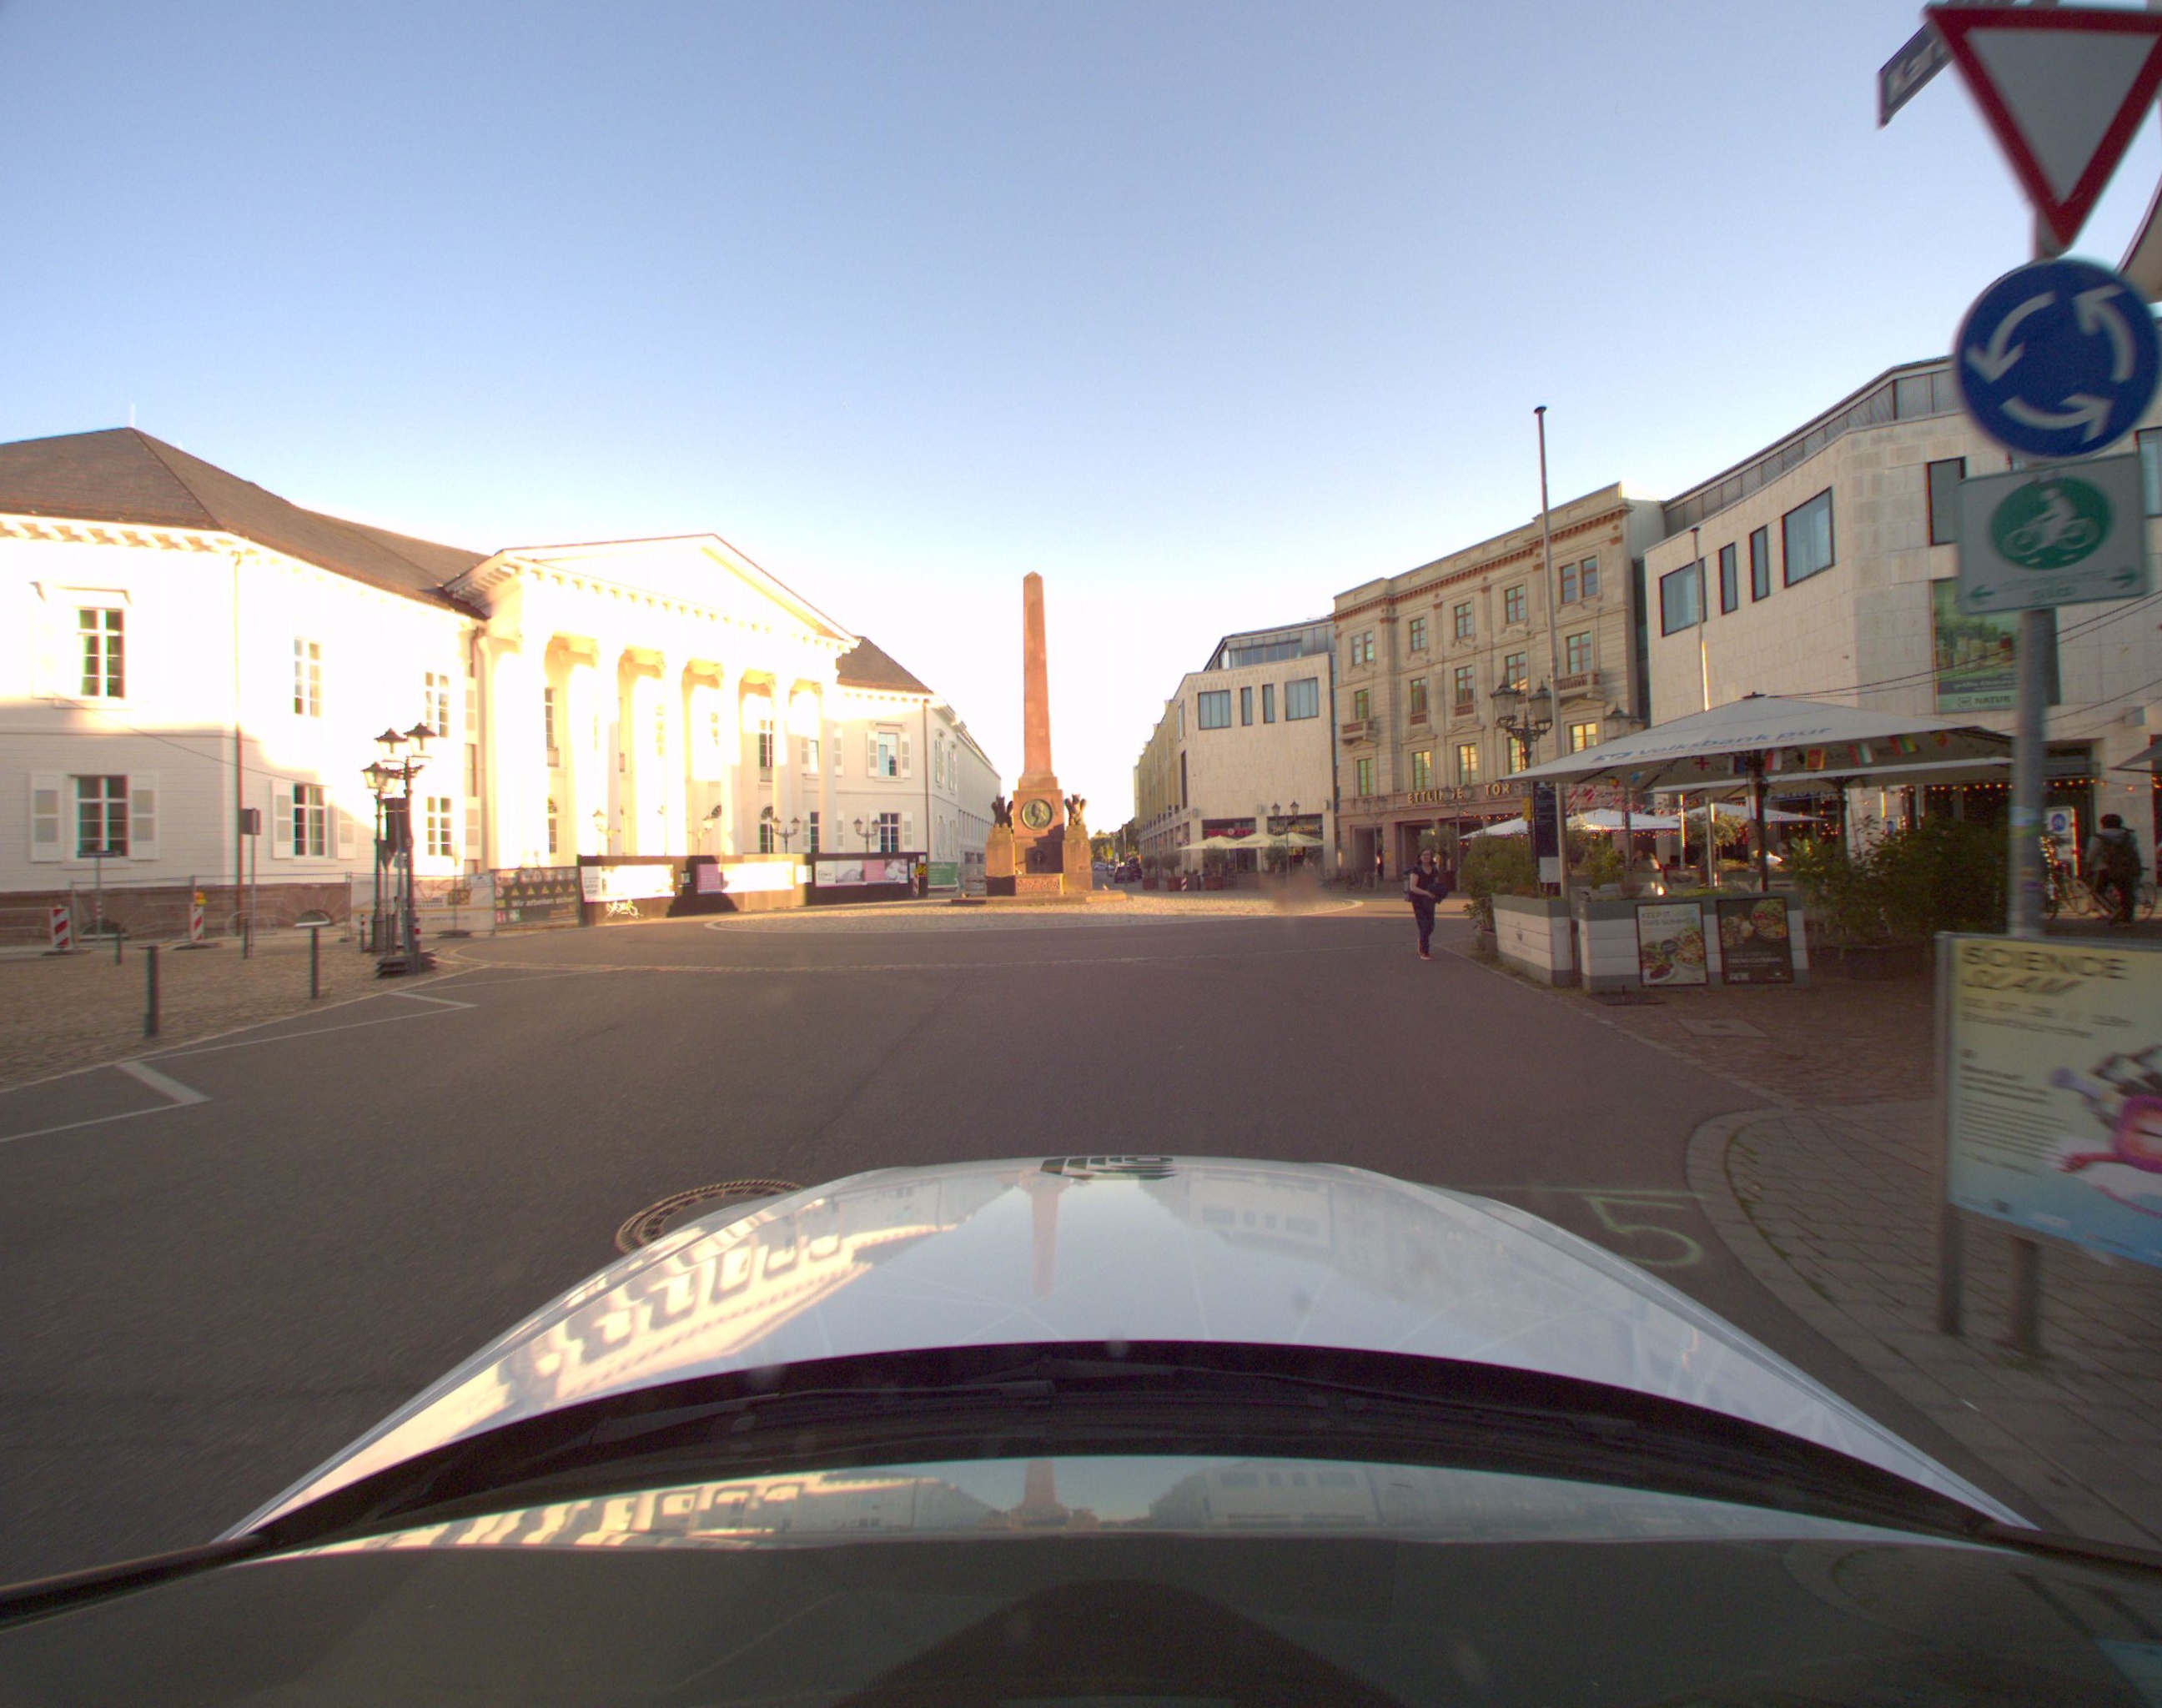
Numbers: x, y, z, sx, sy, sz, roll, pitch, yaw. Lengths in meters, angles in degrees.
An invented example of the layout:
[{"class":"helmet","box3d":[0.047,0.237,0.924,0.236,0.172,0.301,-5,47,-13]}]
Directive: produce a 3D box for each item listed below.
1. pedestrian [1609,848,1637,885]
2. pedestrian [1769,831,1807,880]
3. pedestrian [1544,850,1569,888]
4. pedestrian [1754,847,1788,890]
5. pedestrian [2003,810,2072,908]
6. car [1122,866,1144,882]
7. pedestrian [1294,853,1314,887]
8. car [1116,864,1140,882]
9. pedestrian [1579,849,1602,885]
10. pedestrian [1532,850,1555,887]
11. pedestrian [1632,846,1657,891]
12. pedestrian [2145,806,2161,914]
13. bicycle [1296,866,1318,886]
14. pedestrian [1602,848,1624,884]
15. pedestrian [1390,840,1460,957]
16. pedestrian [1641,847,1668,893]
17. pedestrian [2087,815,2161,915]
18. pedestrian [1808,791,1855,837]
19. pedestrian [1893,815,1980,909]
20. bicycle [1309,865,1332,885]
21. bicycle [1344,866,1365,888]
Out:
[{"class":"pedestrian","box3d":[22.039,0.493,33.119,0.622,1.478,0.622,-2,-1,-10]},{"class":"pedestrian","box3d":[24.406,0.053,28.119,0.689,1.647,0.694,-2,-1,11]},{"class":"pedestrian","box3d":[19.004,0.592,32.561,0.585,1.478,0.684,-2,-1,3]},{"class":"pedestrian","box3d":[21.162,0.441,24.979,0.543,1.310,0.728,-2,-1,19]},{"class":"pedestrian","box3d":[19.047,0.095,16.233,0.677,1.897,0.878,-2,-1,39]},{"class":"car","box3d":[5.114,1.910,79.953,1.986,1.464,4.002,-2,-1,2]},{"class":"pedestrian","box3d":[11.601,0.807,42.387,0.899,1.728,0.852,-2,-1,8]},{"class":"car","box3d":[4.079,1.651,71.485,1.986,1.464,4.002,-2,-1,2]},{"class":"pedestrian","box3d":[21.376,0.531,34.168,0.586,1.478,0.626,-2,-1,12]},{"class":"pedestrian","box3d":[19.046,0.604,33.532,0.541,1.478,0.624,-2,-1,2]},{"class":"pedestrian","box3d":[18.814,0.472,27.198,0.524,1.478,0.565,-2,-1,19]},{"class":"pedestrian","box3d":[18.707,0.096,13.838,0.455,1.854,0.565,-2,-1,15]},{"class":"bicycle","box3d":[12.158,1.166,43.775,0.593,1.031,1.656,-2,-1,36]},{"class":"pedestrian","box3d":[22.286,0.499,34.129,0.540,1.478,0.626,-2,-1,12]},{"class":"pedestrian","box3d":[5.050,0.635,11.984,0.688,1.647,0.695,-2,-1,0]},{"class":"pedestrian","box3d":[18.556,0.520,26.362,0.523,1.478,0.565,-2,-1,21]},{"class":"pedestrian","box3d":[18.051,0.195,14.105,0.495,1.690,0.606,-2,-1,18]},{"class":"pedestrian","box3d":[27.763,-1.471,30.132,0.928,1.647,0.865,-2,-1,-9]},{"class":"pedestrian","box3d":[18.423,0.164,17.551,1.013,1.932,1.017,-1,-1,-29]},{"class":"bicycle","box3d":[12.766,1.116,43.424,0.613,1.031,1.656,-2,-1,36]},{"class":"bicycle","box3d":[13.467,1.118,40.048,0.501,1.031,1.656,-2,-1,36]}]
